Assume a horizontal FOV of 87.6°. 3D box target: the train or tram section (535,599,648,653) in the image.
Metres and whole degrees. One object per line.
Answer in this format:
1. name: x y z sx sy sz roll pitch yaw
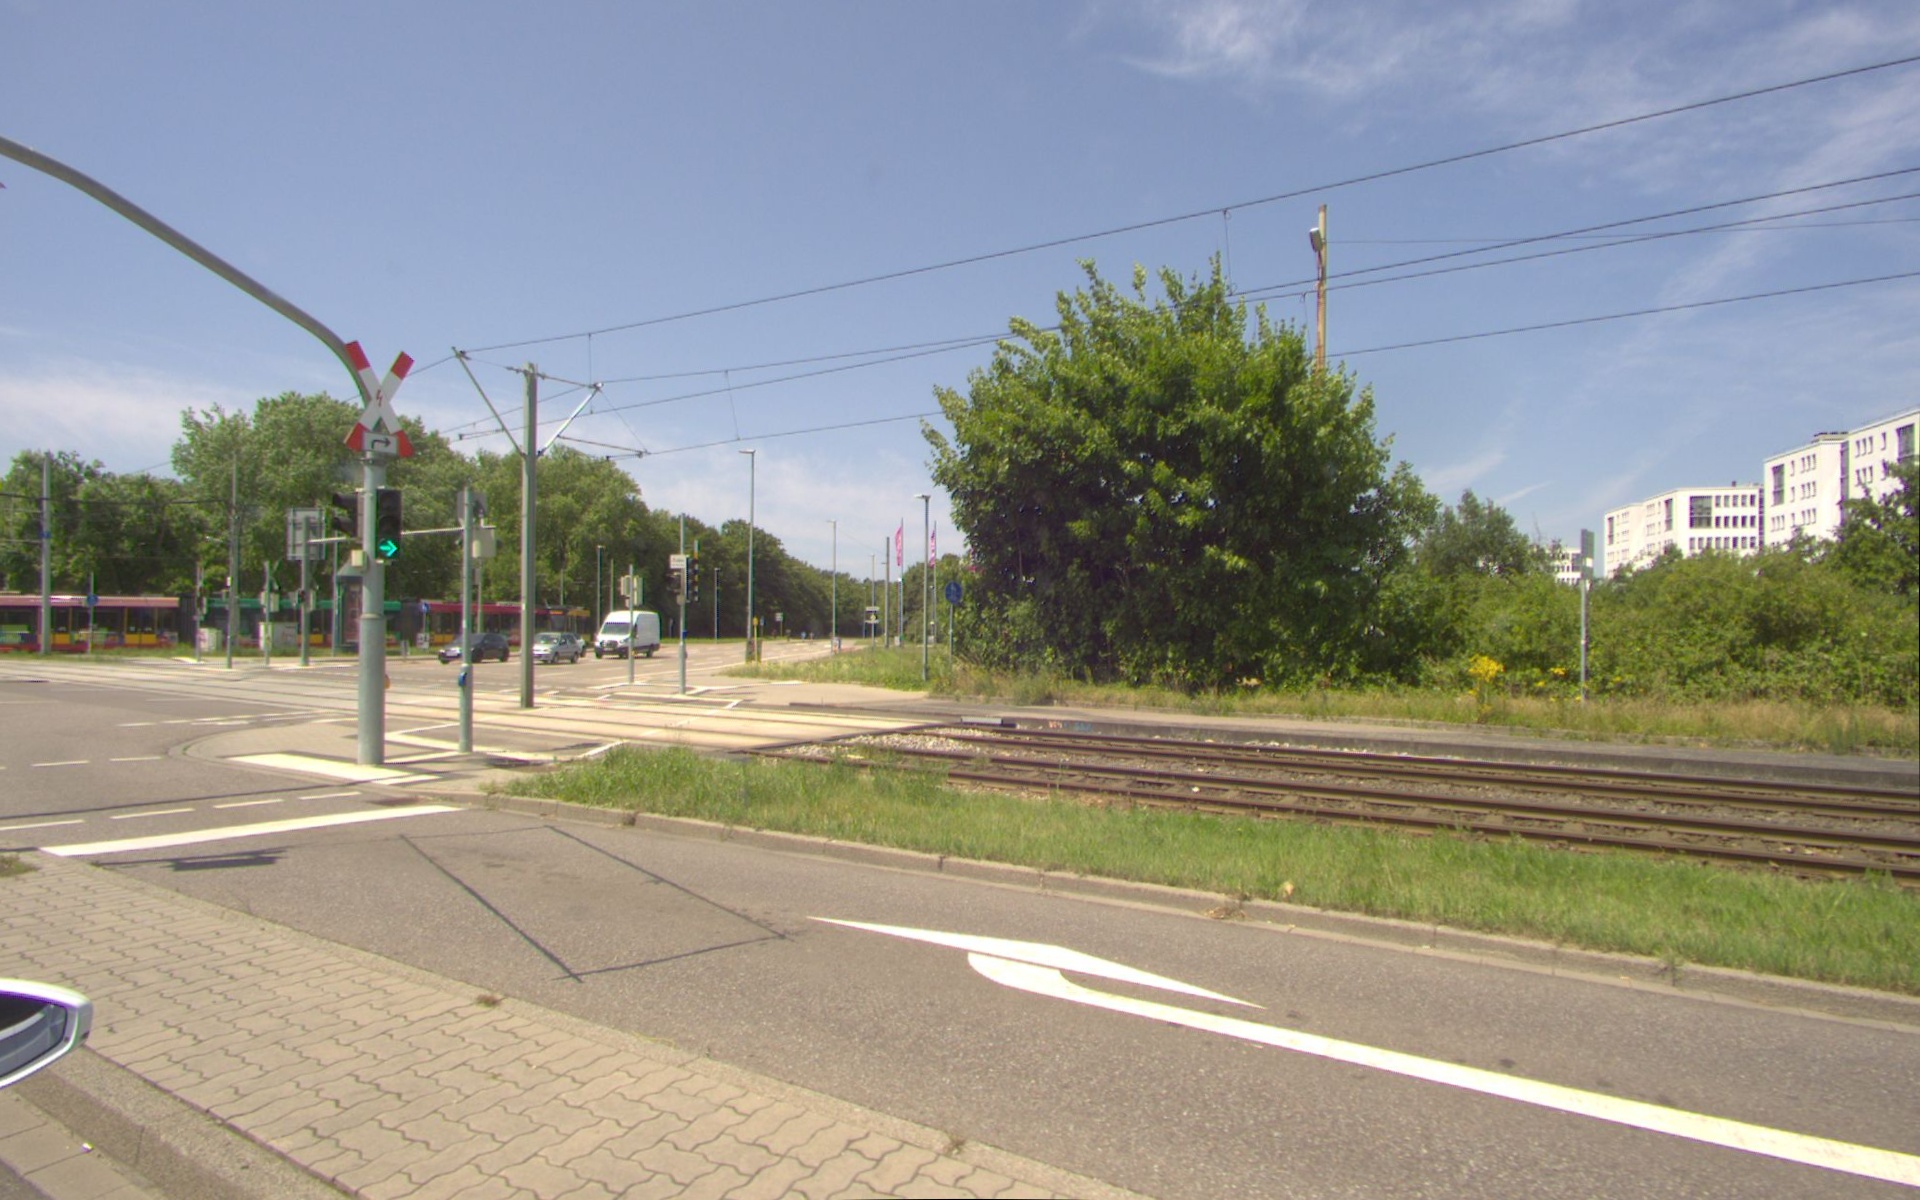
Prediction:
1. train or tram section: -31.519 2.449 86.585 2.868 3.965 13.976 -2 -4 8

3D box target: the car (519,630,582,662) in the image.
1. car: -19.770 2.199 48.508 1.608 1.481 3.807 1 -2 -3

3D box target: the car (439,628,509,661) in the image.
1. car: -23.172 2.102 47.908 1.608 1.481 3.510 1 -2 1

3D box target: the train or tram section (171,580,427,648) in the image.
1. train or tram section: -41.617 1.063 63.741 13.322 3.857 2.899 3 -5 -43

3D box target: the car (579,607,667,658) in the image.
1. car: -19.885 1.915 59.548 2.664 2.838 7.287 1 -2 1

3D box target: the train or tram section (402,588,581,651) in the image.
1. train or tram section: -34.501 1.651 74.857 2.874 3.965 14.022 -3 -4 21

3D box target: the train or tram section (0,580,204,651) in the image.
1. train or tram section: -52.014 0.905 57.964 12.842 3.857 2.922 0 -4 -17

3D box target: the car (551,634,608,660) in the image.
1. car: -22.667 2.772 59.791 1.608 1.481 4.495 1 -2 1
